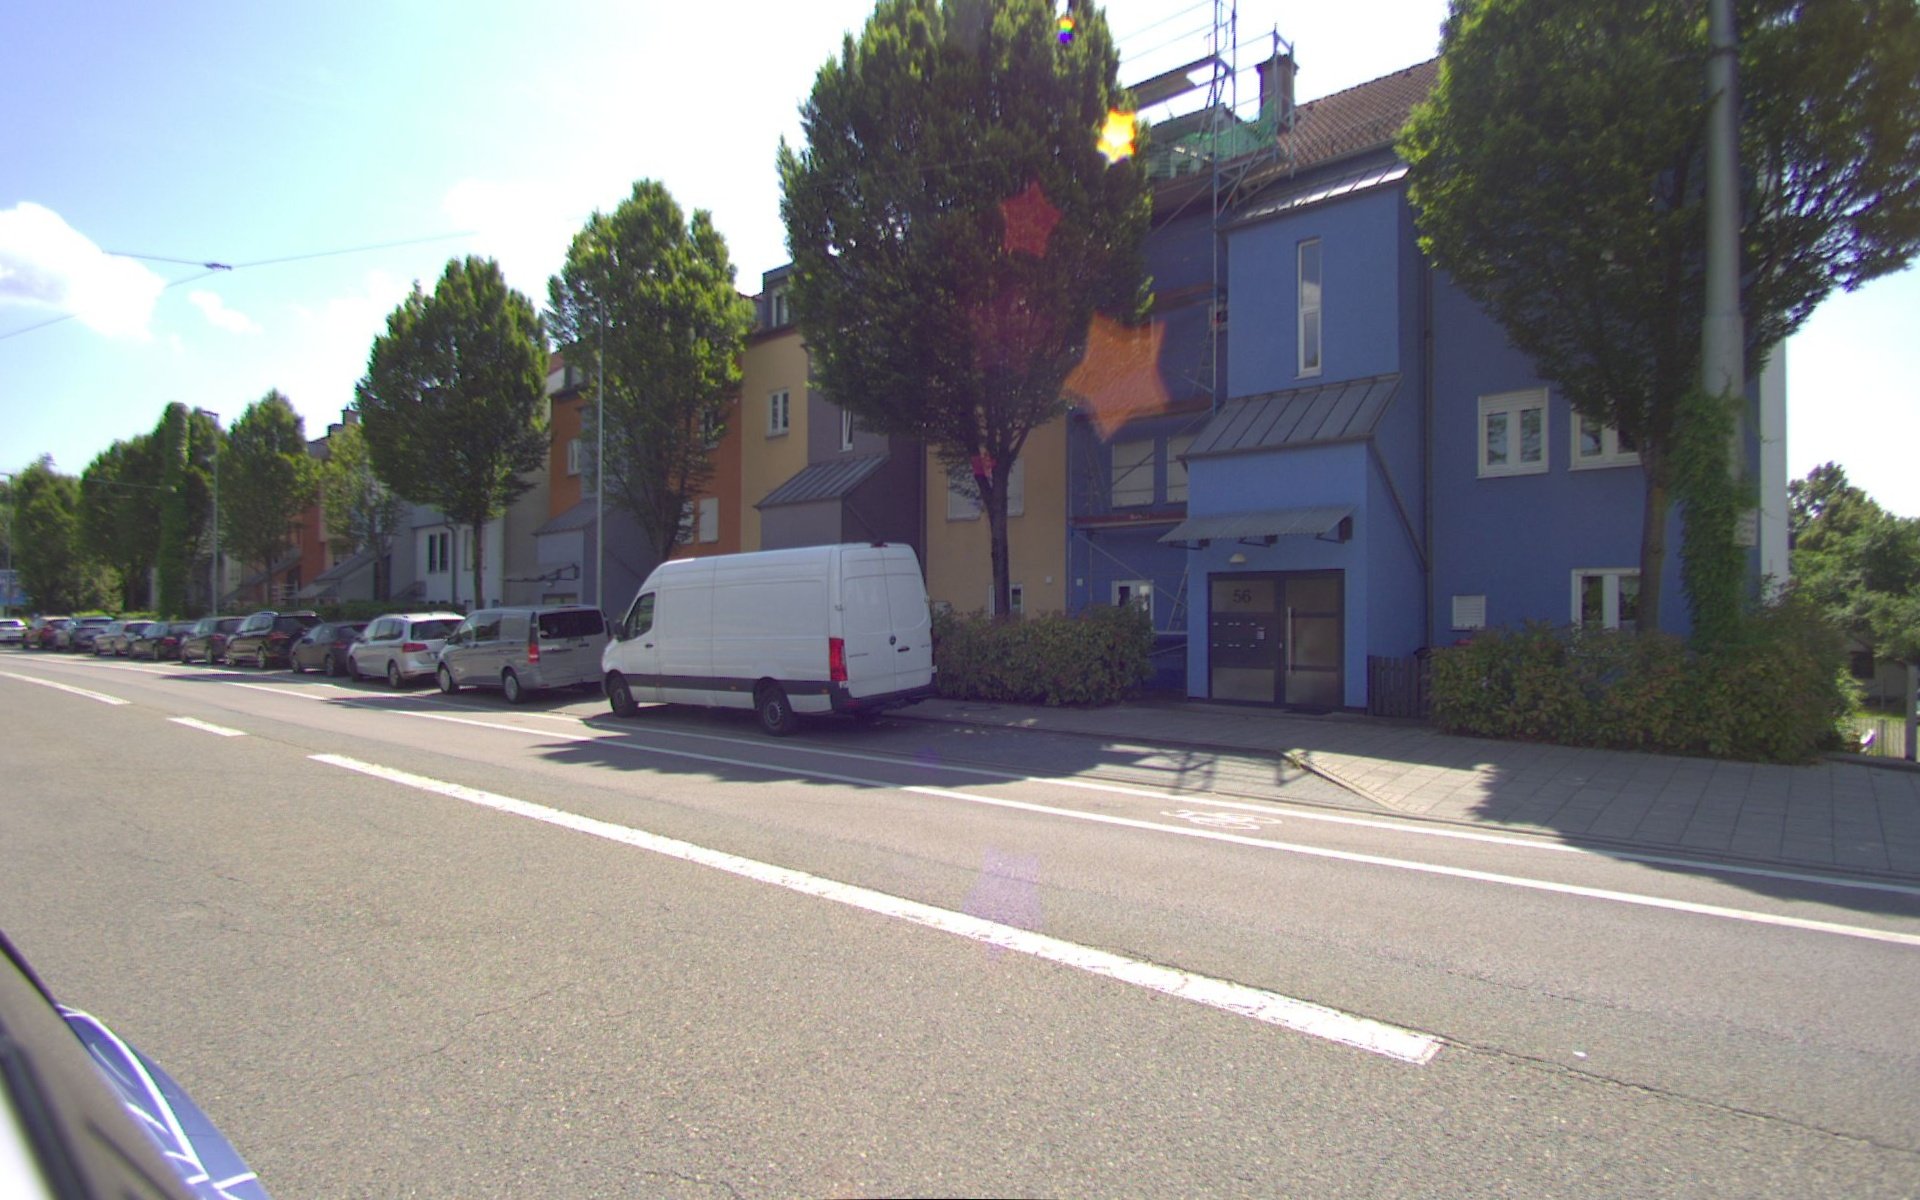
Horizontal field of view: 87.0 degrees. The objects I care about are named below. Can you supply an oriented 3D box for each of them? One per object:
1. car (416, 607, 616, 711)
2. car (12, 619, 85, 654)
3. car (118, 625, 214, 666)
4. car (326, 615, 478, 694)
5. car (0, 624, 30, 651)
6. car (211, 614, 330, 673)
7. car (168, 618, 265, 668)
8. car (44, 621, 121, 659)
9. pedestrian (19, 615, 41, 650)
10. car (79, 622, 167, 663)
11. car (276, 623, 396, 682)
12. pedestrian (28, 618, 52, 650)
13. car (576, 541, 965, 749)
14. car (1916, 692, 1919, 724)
[{"bbox_3d":[-9.604,1.164,21.655,5.359,1.909,1.788,-1,1,41],"label":"car"},{"bbox_3d":[-44.625,1.758,49.517,4.161,1.621,1.642,-1,-1,33],"label":"car"},{"bbox_3d":[-30.812,1.725,39.218,4.955,1.457,1.725,-1,0,37],"label":"car"},{"bbox_3d":[-13.965,1.285,25.210,4.900,1.765,1.699,-1,-1,40],"label":"car"},{"bbox_3d":[-51.735,2.009,54.299,4.383,1.421,1.642,-1,-2,33],"label":"car"},{"bbox_3d":[-21.919,1.352,32.118,4.881,1.729,1.734,-1,-2,38],"label":"car"},{"bbox_3d":[-26.034,1.469,35.407,4.280,1.630,1.639,-1,-2,38],"label":"car"},{"bbox_3d":[-40.023,1.801,46.126,4.678,1.621,1.641,-1,0,36],"label":"car"},{"bbox_3d":[-52.996,1.851,57.654,0.633,1.937,0.710,0,-2,-14],"label":"pedestrian"},{"bbox_3d":[-35.619,1.758,43.027,4.885,1.519,1.641,0,2,35],"label":"car"},{"bbox_3d":[-17.702,1.437,28.660,4.082,1.482,1.583,0,-1,38],"label":"car"},{"bbox_3d":[-52.097,1.946,57.322,0.695,1.808,0.683,0,-2,6],"label":"pedestrian"},{"bbox_3d":[-3.340,0.601,16.317,7.033,2.671,2.299,-1,2,42],"label":"car"},{"bbox_3d":[41.333,4.579,42.158,1.844,1.364,3.947,-1,-4,39],"label":"car"}]
